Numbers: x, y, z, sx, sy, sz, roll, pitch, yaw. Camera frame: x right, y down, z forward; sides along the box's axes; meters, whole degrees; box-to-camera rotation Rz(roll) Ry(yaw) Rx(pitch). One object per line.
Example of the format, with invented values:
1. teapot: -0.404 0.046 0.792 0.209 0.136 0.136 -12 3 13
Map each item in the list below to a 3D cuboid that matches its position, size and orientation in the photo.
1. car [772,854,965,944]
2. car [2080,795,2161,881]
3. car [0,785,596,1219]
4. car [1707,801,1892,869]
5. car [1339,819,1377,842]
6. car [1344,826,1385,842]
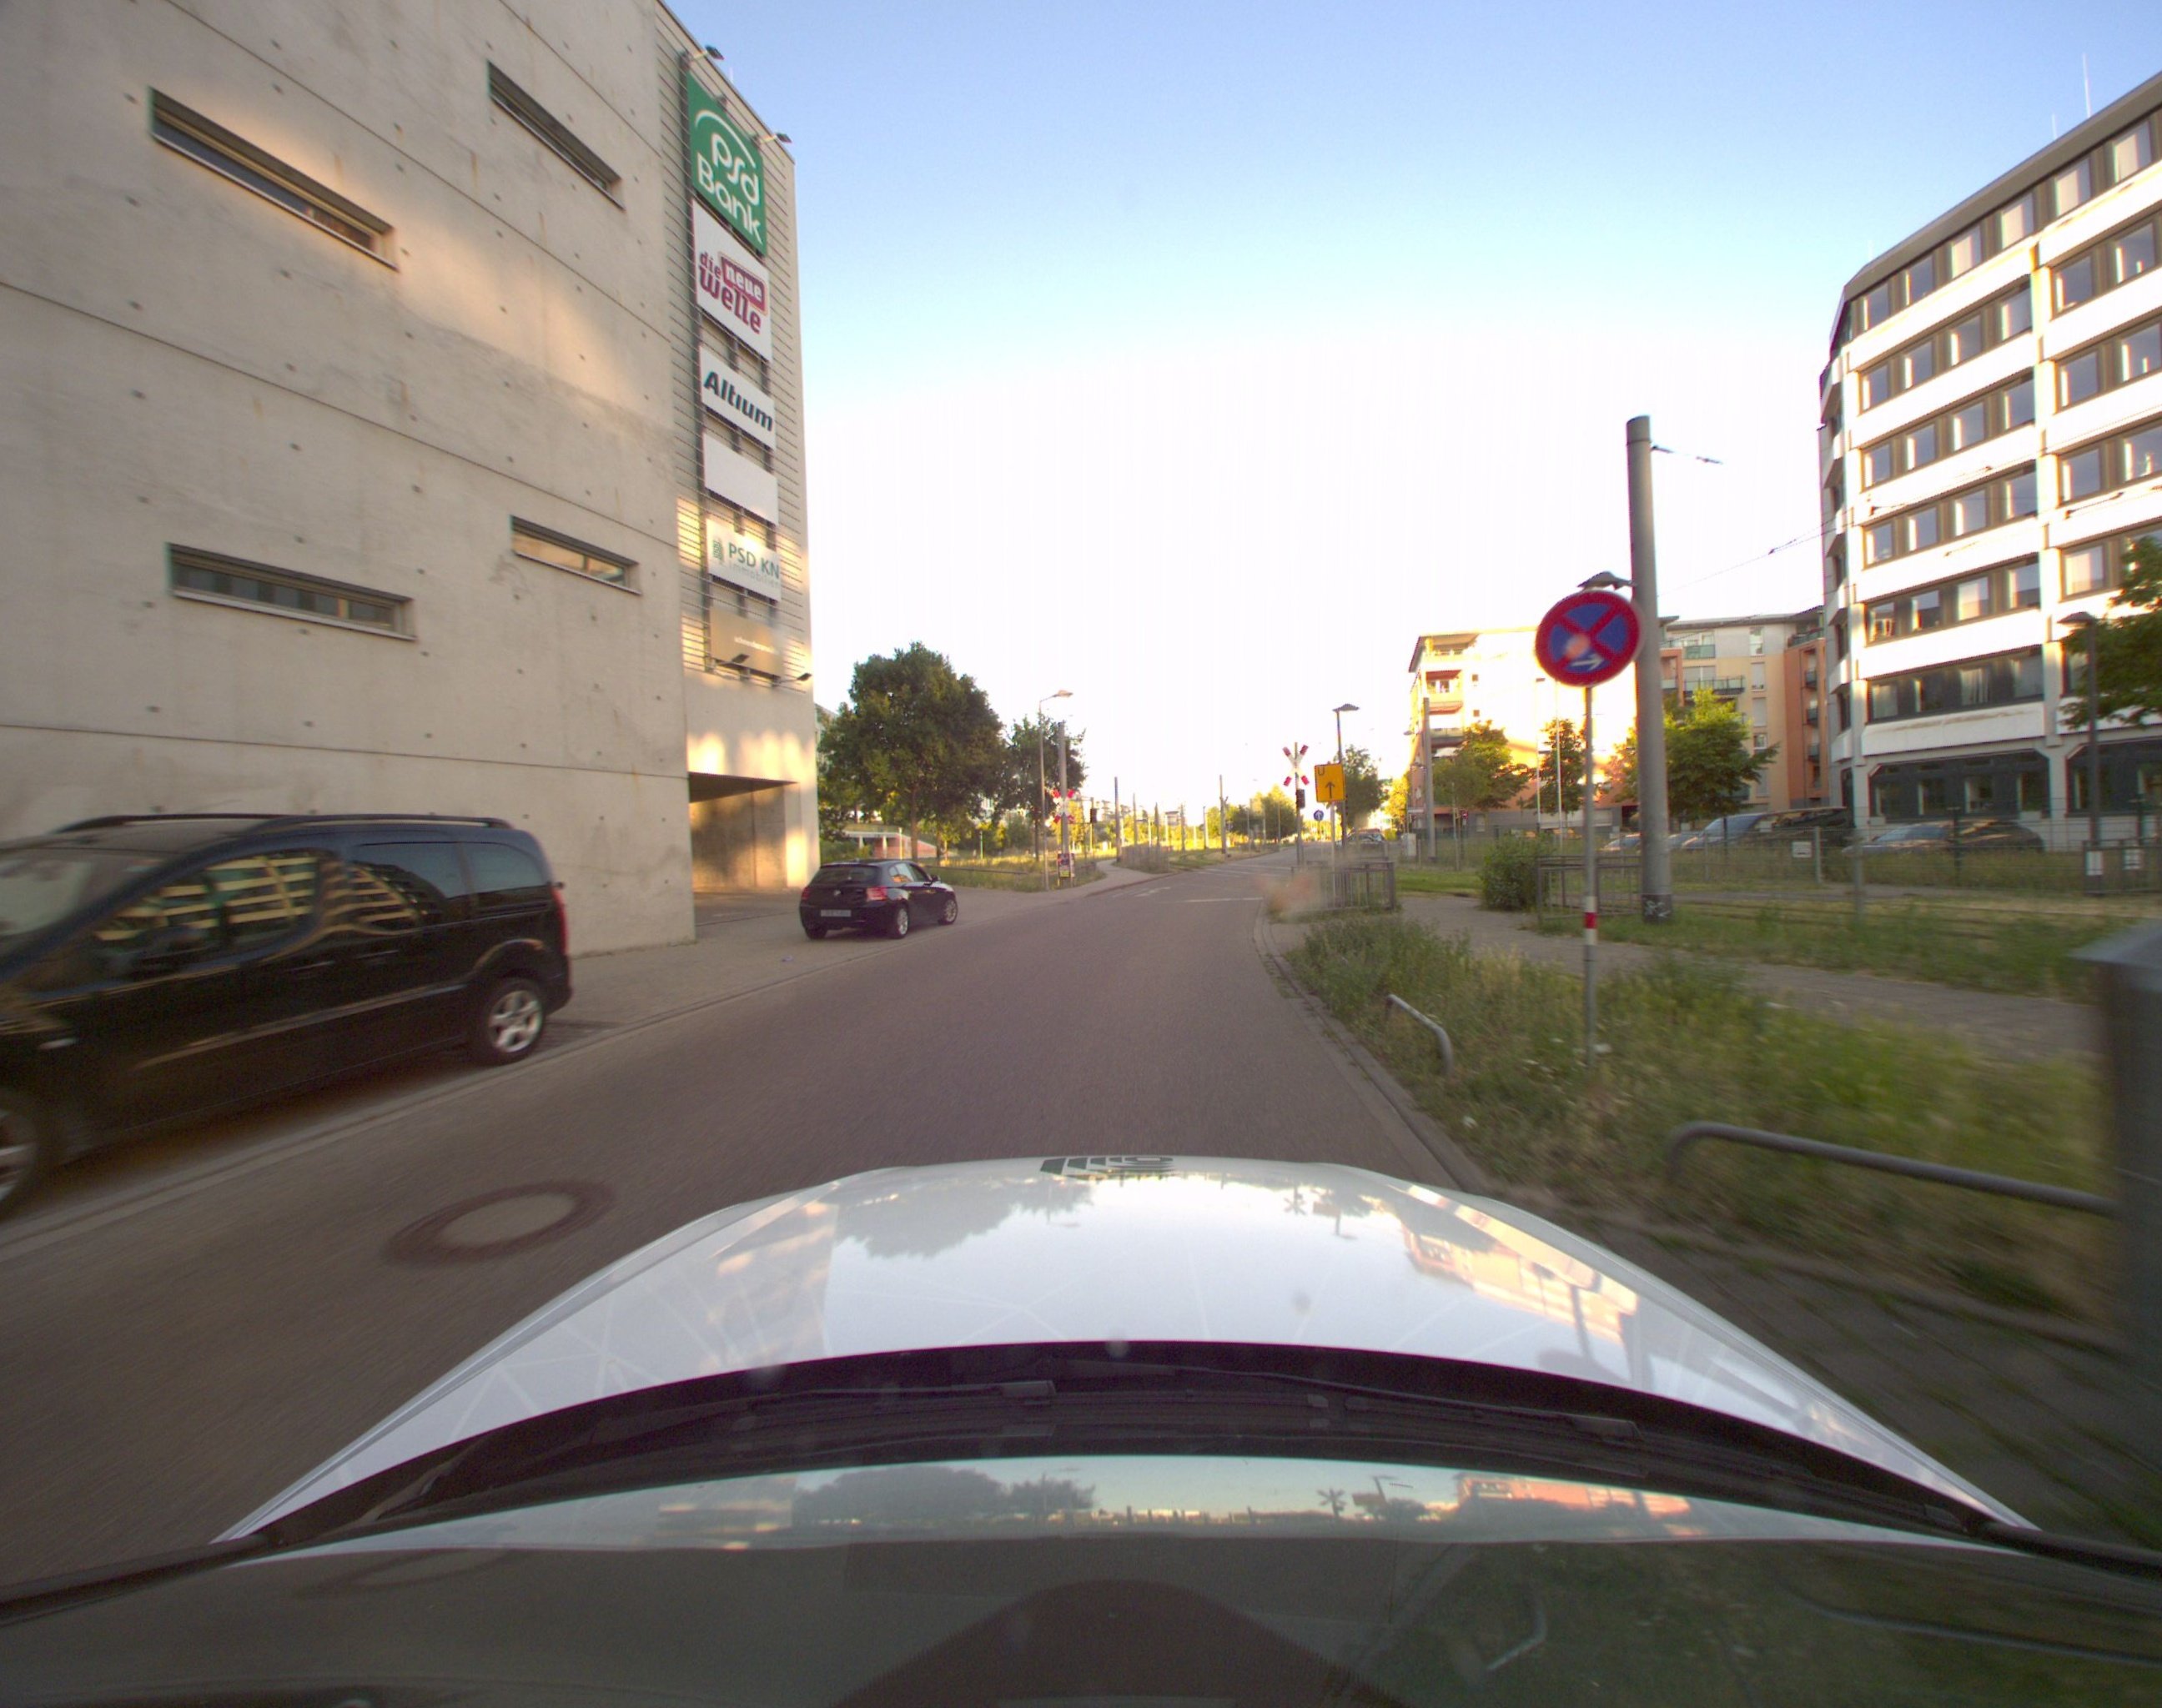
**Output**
1. car: -3.804 0.726 15.503 1.932 1.382 4.411 0 1 9
2. car: 22.407 -0.384 15.811 4.492 1.602 1.690 -2 0 -7
3. car: -5.196 0.592 4.665 1.748 1.798 4.472 0 1 7
4. car: 22.774 -0.609 25.901 4.492 1.936 1.926 -2 0 -8
5. car: 33.499 -2.861 98.497 4.123 2.584 1.710 -2 0 14
6. car: 30.442 -2.172 87.610 4.120 1.576 1.711 -2 0 18
